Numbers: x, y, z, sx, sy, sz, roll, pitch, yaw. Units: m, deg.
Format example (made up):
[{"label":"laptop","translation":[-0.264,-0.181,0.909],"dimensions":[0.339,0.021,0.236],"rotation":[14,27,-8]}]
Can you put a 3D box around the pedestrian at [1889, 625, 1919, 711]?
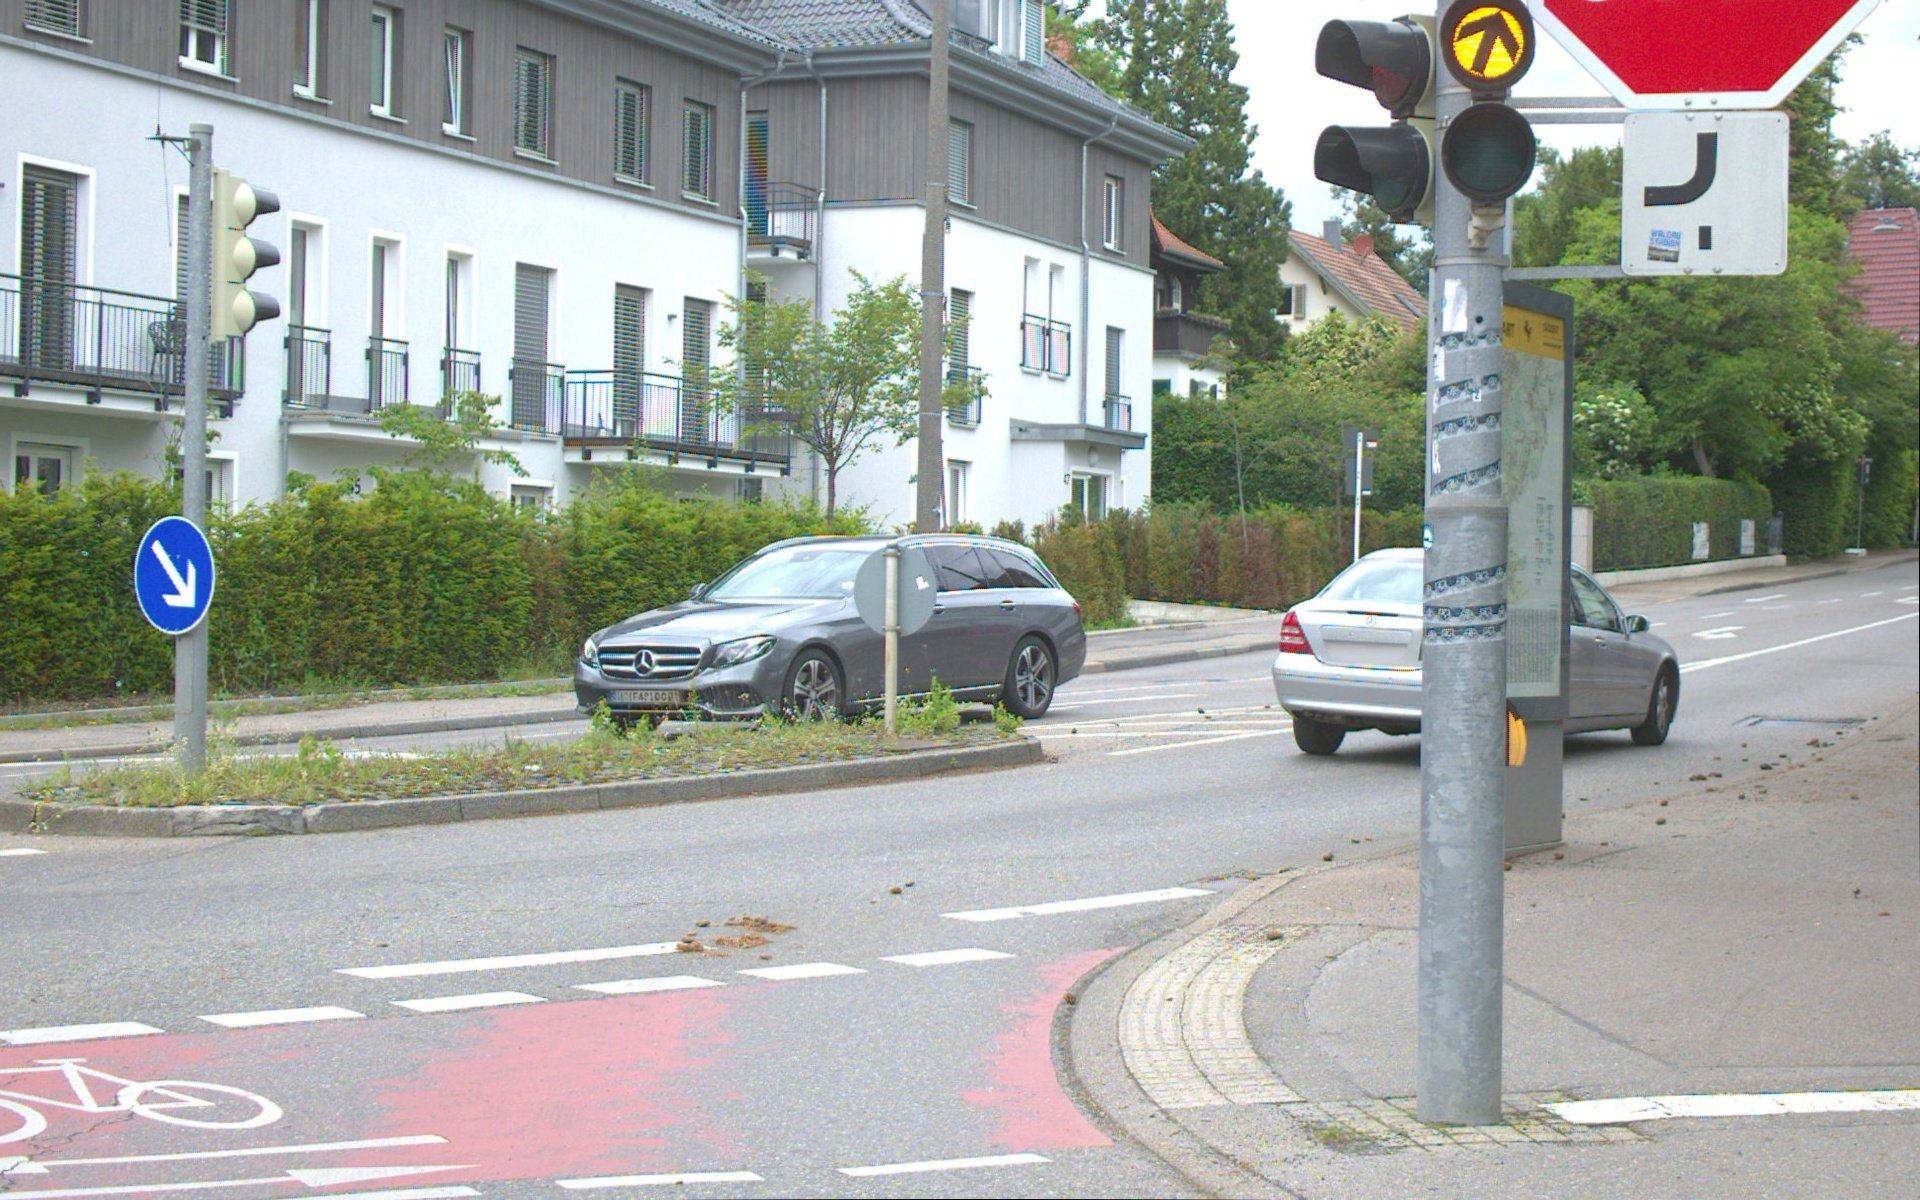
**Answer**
[{"label":"pedestrian","translation":[8.133,0.562,28.421],"dimensions":[0.644,0.694,0.585],"rotation":[0,2,-19]}]

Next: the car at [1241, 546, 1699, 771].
[{"label":"car","translation":[3.665,0.358,24.052],"dimensions":[1.800,1.410,4.329],"rotation":[1,1,28]}]

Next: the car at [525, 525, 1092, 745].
[{"label":"car","translation":[-1.030,0.196,26.114],"dimensions":[1.829,1.480,4.739],"rotation":[0,2,34]}]
